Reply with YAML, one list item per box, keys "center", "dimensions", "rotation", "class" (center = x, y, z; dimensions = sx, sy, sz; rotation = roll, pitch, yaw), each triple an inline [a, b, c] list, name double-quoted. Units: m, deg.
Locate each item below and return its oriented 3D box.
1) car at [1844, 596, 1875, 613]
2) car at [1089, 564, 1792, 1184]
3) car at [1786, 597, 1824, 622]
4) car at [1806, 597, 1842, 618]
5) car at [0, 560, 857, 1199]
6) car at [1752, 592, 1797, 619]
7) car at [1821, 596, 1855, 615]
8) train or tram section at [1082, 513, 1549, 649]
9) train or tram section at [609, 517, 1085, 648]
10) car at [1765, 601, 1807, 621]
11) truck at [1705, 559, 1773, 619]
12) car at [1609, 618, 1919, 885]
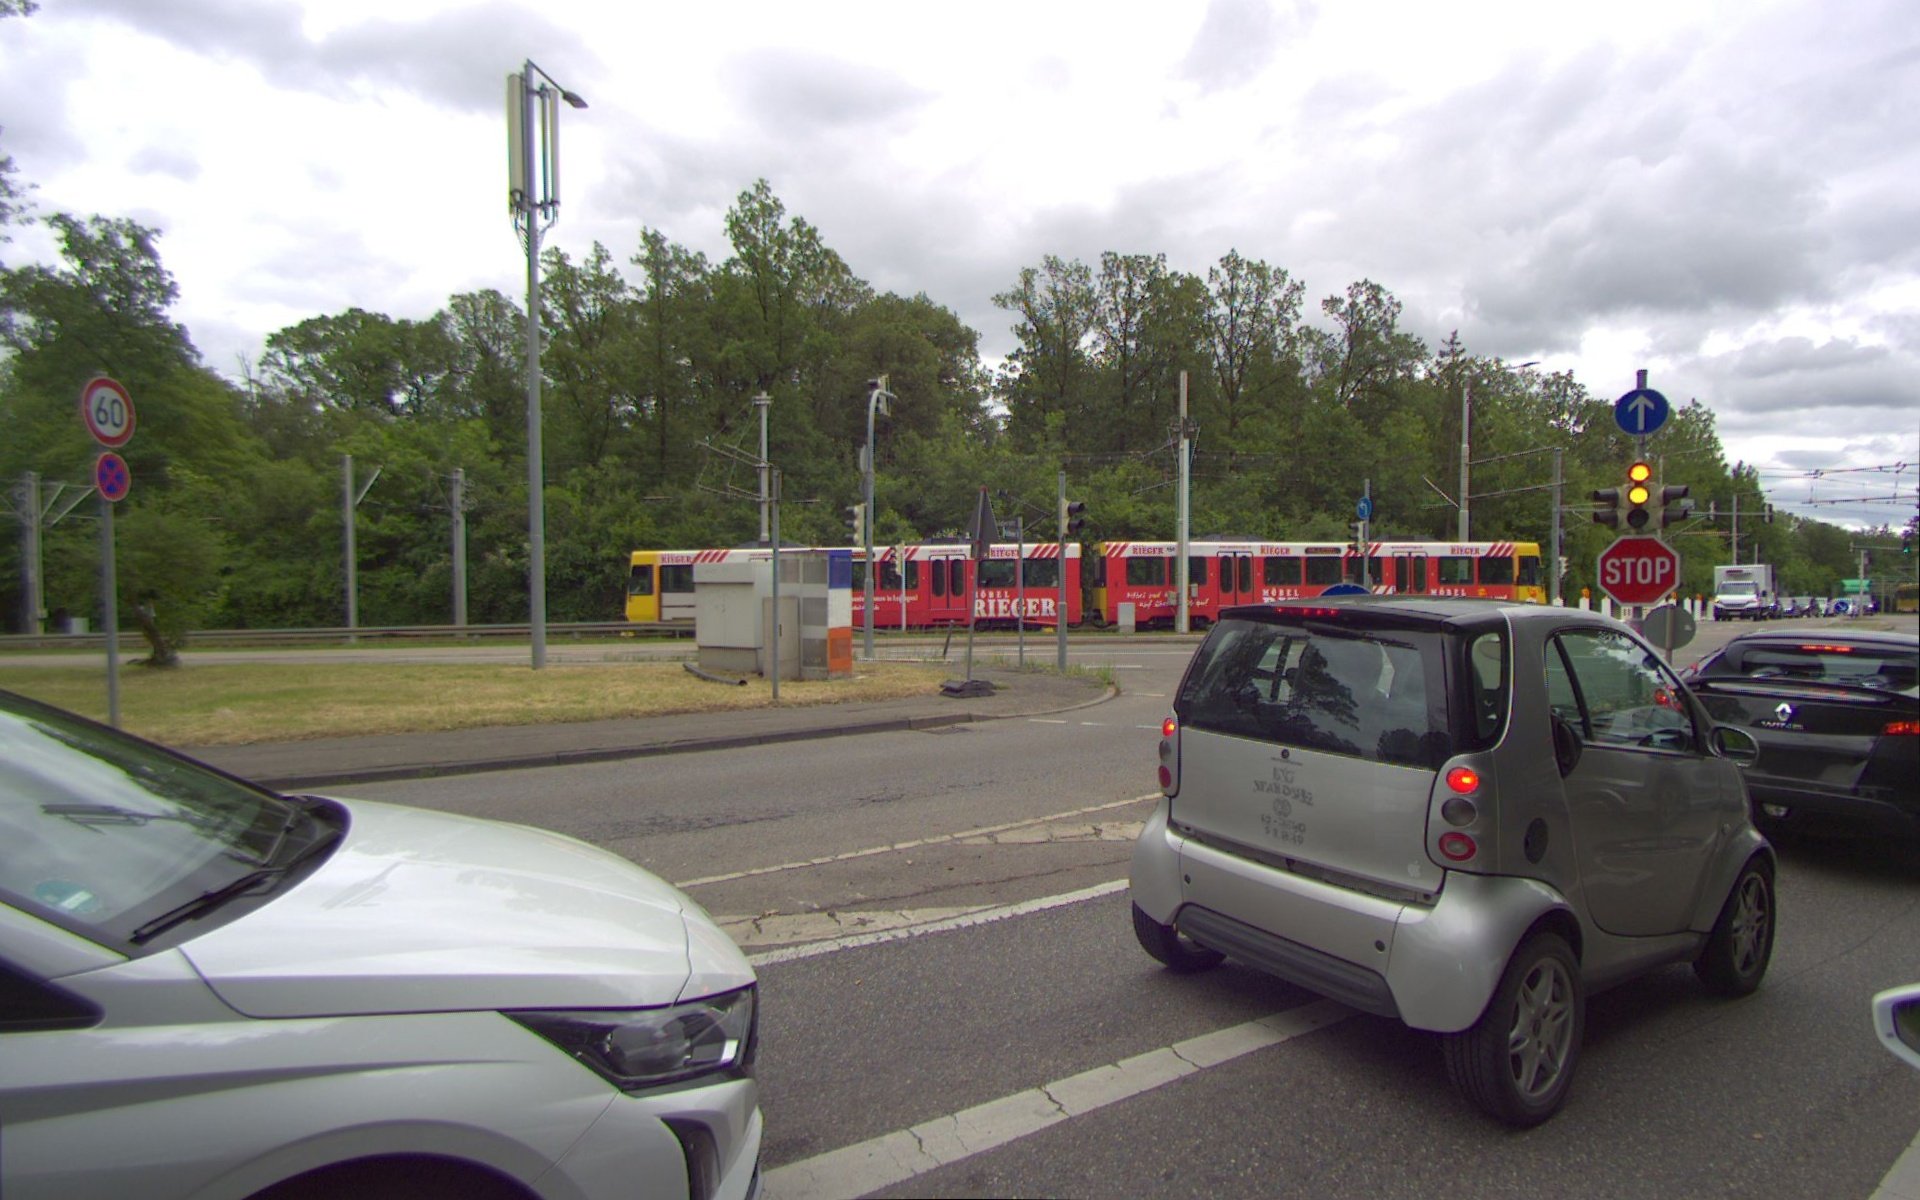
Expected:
- center: [84.807, 0.424, 94.708]
  dimensions: [1.942, 1.561, 4.283]
  rotation: [1, 1, 45]
  class: "car"
- center: [1.990, 0.718, 4.001]
  dimensions: [2.701, 1.607, 1.447]
  rotation: [0, 0, -36]
  class: "car"
- center: [65.743, 0.677, 78.113]
  dimensions: [1.942, 1.869, 4.660]
  rotation: [1, 1, 45]
  class: "car"
- center: [70.490, 0.608, 81.908]
  dimensions: [1.942, 1.628, 4.283]
  rotation: [1, 1, 45]
  class: "car"
- center: [-2.332, 0.702, 1.605]
  dimensions: [4.022, 1.499, 1.643]
  rotation: [0, 0, -28]
  class: "car"
- center: [54.014, 0.334, 66.594]
  dimensions: [1.941, 1.773, 4.817]
  rotation: [1, 1, 44]
  class: "car"
- center: [74.887, 0.460, 85.658]
  dimensions: [1.942, 1.562, 4.368]
  rotation: [1, 1, 45]
  class: "car"
- center: [14.234, -0.692, 40.616]
  dimensions: [18.195, 4.712, 2.954]
  rotation: [2, 0, -6]
  class: "train or tram section"
- center: [-4.370, -0.698, 40.123]
  dimensions: [18.353, 4.477, 2.967]
  rotation: [2, 0, 3]
  class: "train or tram section"
- center: [59.604, 0.789, 72.446]
  dimensions: [1.942, 1.380, 4.660]
  rotation: [1, 1, 45]
  class: "car"
- center: [45.193, -0.585, 58.195]
  dimensions: [2.423, 3.267, 7.113]
  rotation: [0, 0, 44]
  class: "truck"
- center: [6.051, 0.839, 6.923]
  dimensions: [3.448, 1.380, 1.759]
  rotation: [0, 0, -41]
  class: "car"
